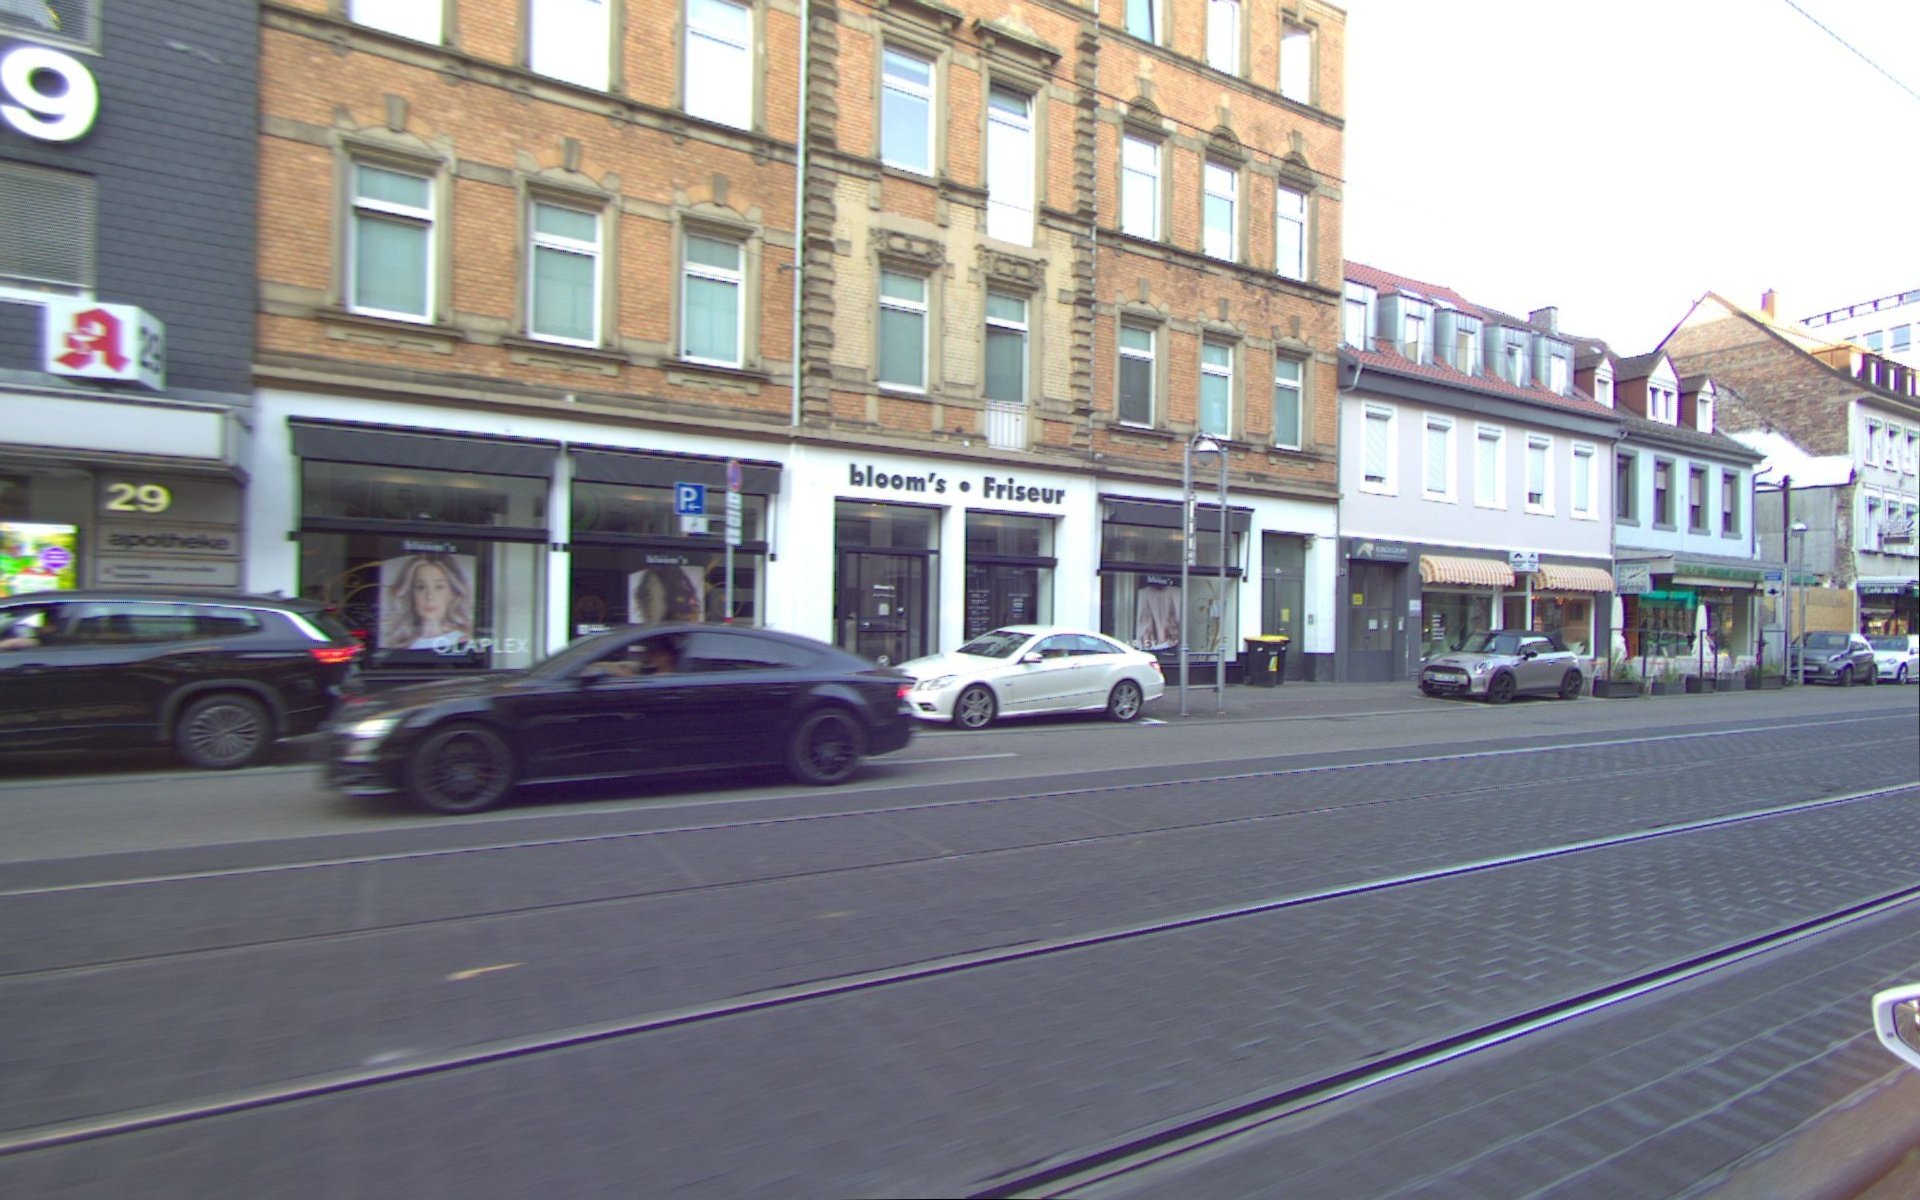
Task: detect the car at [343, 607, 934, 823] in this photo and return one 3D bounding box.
[{"bbox_3d":[-2.710,0.878,8.909,4.594,1.472,1.984,2,-3,-30],"label":"car"}]

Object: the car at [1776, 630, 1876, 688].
[{"bbox_3d":[25.149,1.691,29.160,2.764,1.598,1.469,2,-2,-32],"label":"car"}]

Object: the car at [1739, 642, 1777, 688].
[{"bbox_3d":[22.264,1.814,28.027,0.336,1.251,0.779,2,-1,-32],"label":"car"}]

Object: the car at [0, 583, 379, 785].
[{"bbox_3d":[-8.228,0.717,9.527,4.588,1.697,1.922,1,0,-28],"label":"car"}]

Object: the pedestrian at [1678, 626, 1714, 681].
[{"bbox_3d":[22.614,1.631,30.880,0.686,1.666,0.659,2,0,-30],"label":"pedestrian"}]

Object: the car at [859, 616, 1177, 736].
[{"bbox_3d":[0.949,1.081,15.202,4.561,1.472,1.857,2,1,-33],"label":"car"}]

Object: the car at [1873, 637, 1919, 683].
[{"bbox_3d":[33.132,2.029,34.058,4.278,1.472,1.985,2,-1,-29],"label":"car"}]

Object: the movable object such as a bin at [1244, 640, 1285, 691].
[{"bbox_3d":[6.579,1.411,21.729,0.652,1.057,0.515,2,1,-31],"label":"movable object such as a bin"}]

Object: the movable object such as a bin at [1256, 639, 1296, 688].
[{"bbox_3d":[7.043,1.420,22.423,0.686,1.047,0.492,2,1,-31],"label":"movable object such as a bin"}]

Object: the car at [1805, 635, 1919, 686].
[{"bbox_3d":[28.874,1.878,31.594,4.764,1.472,1.985,2,-1,-30],"label":"car"}]

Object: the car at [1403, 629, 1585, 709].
[{"bbox_3d":[11.303,1.408,21.218,3.767,1.459,1.591,2,1,-30],"label":"car"}]
